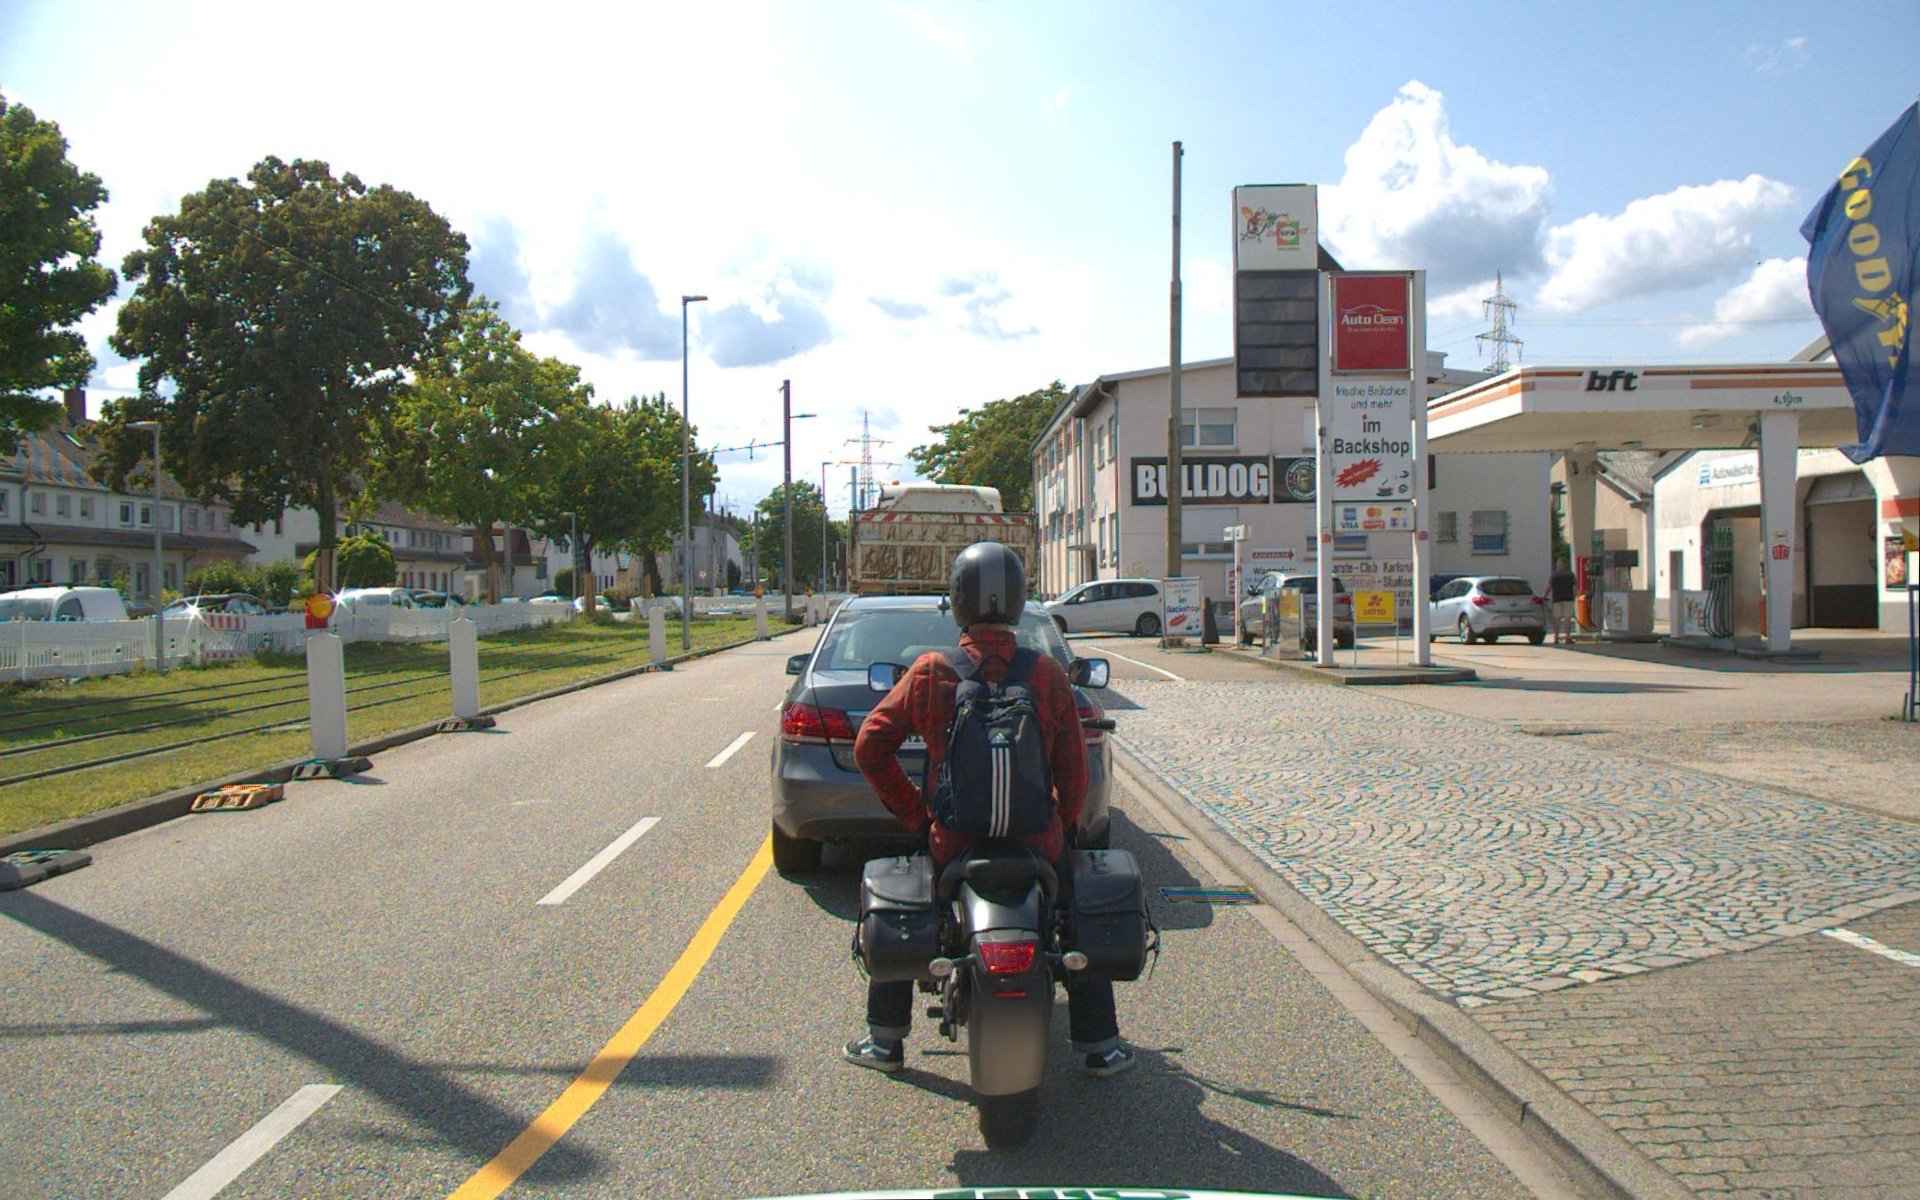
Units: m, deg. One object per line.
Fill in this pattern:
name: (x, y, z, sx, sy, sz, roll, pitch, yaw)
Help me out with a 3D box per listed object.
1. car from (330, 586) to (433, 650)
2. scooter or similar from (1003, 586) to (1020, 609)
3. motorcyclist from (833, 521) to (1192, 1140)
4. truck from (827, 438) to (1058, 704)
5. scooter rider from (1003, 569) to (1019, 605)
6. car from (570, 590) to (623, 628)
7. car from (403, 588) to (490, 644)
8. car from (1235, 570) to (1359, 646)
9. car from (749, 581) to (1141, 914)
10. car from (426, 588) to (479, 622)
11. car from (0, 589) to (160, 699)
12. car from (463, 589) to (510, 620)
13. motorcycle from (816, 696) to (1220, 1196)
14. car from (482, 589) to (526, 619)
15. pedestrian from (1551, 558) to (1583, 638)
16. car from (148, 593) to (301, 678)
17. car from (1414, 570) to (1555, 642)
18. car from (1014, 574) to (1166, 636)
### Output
car: (-16.941, 0.499, 48.606, 1.664, 1.770, 3.860, -1, 0, -1)
scooter or similar: (2.665, -0.122, 85.773, 0.779, 1.165, 1.519, -1, 0, -1)
motorcyclist: (0.134, 0.620, 5.068, 0.950, 1.662, 1.214, 1, 0, -1)
truck: (-0.352, -0.418, 25.461, 2.910, 3.362, 8.404, -1, 0, -2)
scooter rider: (2.653, -0.692, 85.824, 0.779, 1.850, 0.508, -1, 0, -1)
car: (-17.454, 0.413, 79.528, 1.664, 1.770, 3.860, -1, 0, -1)
car: (-17.017, 0.503, 54.972, 1.664, 1.770, 3.860, -1, 0, -1)
car: (7.405, 0.147, 36.747, 1.795, 1.562, 4.008, -1, 0, -2)
car: (-0.130, 0.666, 9.706, 1.795, 1.505, 4.008, -1, 0, -2)
car: (-28.180, 0.253, 91.926, 1.664, 1.770, 4.061, -1, 0, -1)
car: (-16.414, 0.747, 30.285, 1.664, 1.849, 3.860, -1, 0, -1)
car: (-28.061, 0.268, 98.136, 1.664, 1.770, 4.061, -1, 0, -1)
motorcycle: (0.123, 0.902, 5.186, 0.956, 1.031, 2.431, 1, 0, -1)
car: (-28.664, 0.239, 104.138, 1.664, 1.770, 4.061, -1, 0, -1)
pedestrian: (13.138, -0.042, 35.784, 0.621, 1.712, 0.622, -1, 0, 20)
car: (-16.669, 0.762, 37.709, 1.664, 1.770, 4.053, -1, 0, -1)
car: (11.776, 0.107, 37.413, 1.795, 1.505, 4.008, -1, 0, -2)
car: (3.673, 0.123, 47.076, 4.029, 1.652, 1.682, -1, 0, -9)
